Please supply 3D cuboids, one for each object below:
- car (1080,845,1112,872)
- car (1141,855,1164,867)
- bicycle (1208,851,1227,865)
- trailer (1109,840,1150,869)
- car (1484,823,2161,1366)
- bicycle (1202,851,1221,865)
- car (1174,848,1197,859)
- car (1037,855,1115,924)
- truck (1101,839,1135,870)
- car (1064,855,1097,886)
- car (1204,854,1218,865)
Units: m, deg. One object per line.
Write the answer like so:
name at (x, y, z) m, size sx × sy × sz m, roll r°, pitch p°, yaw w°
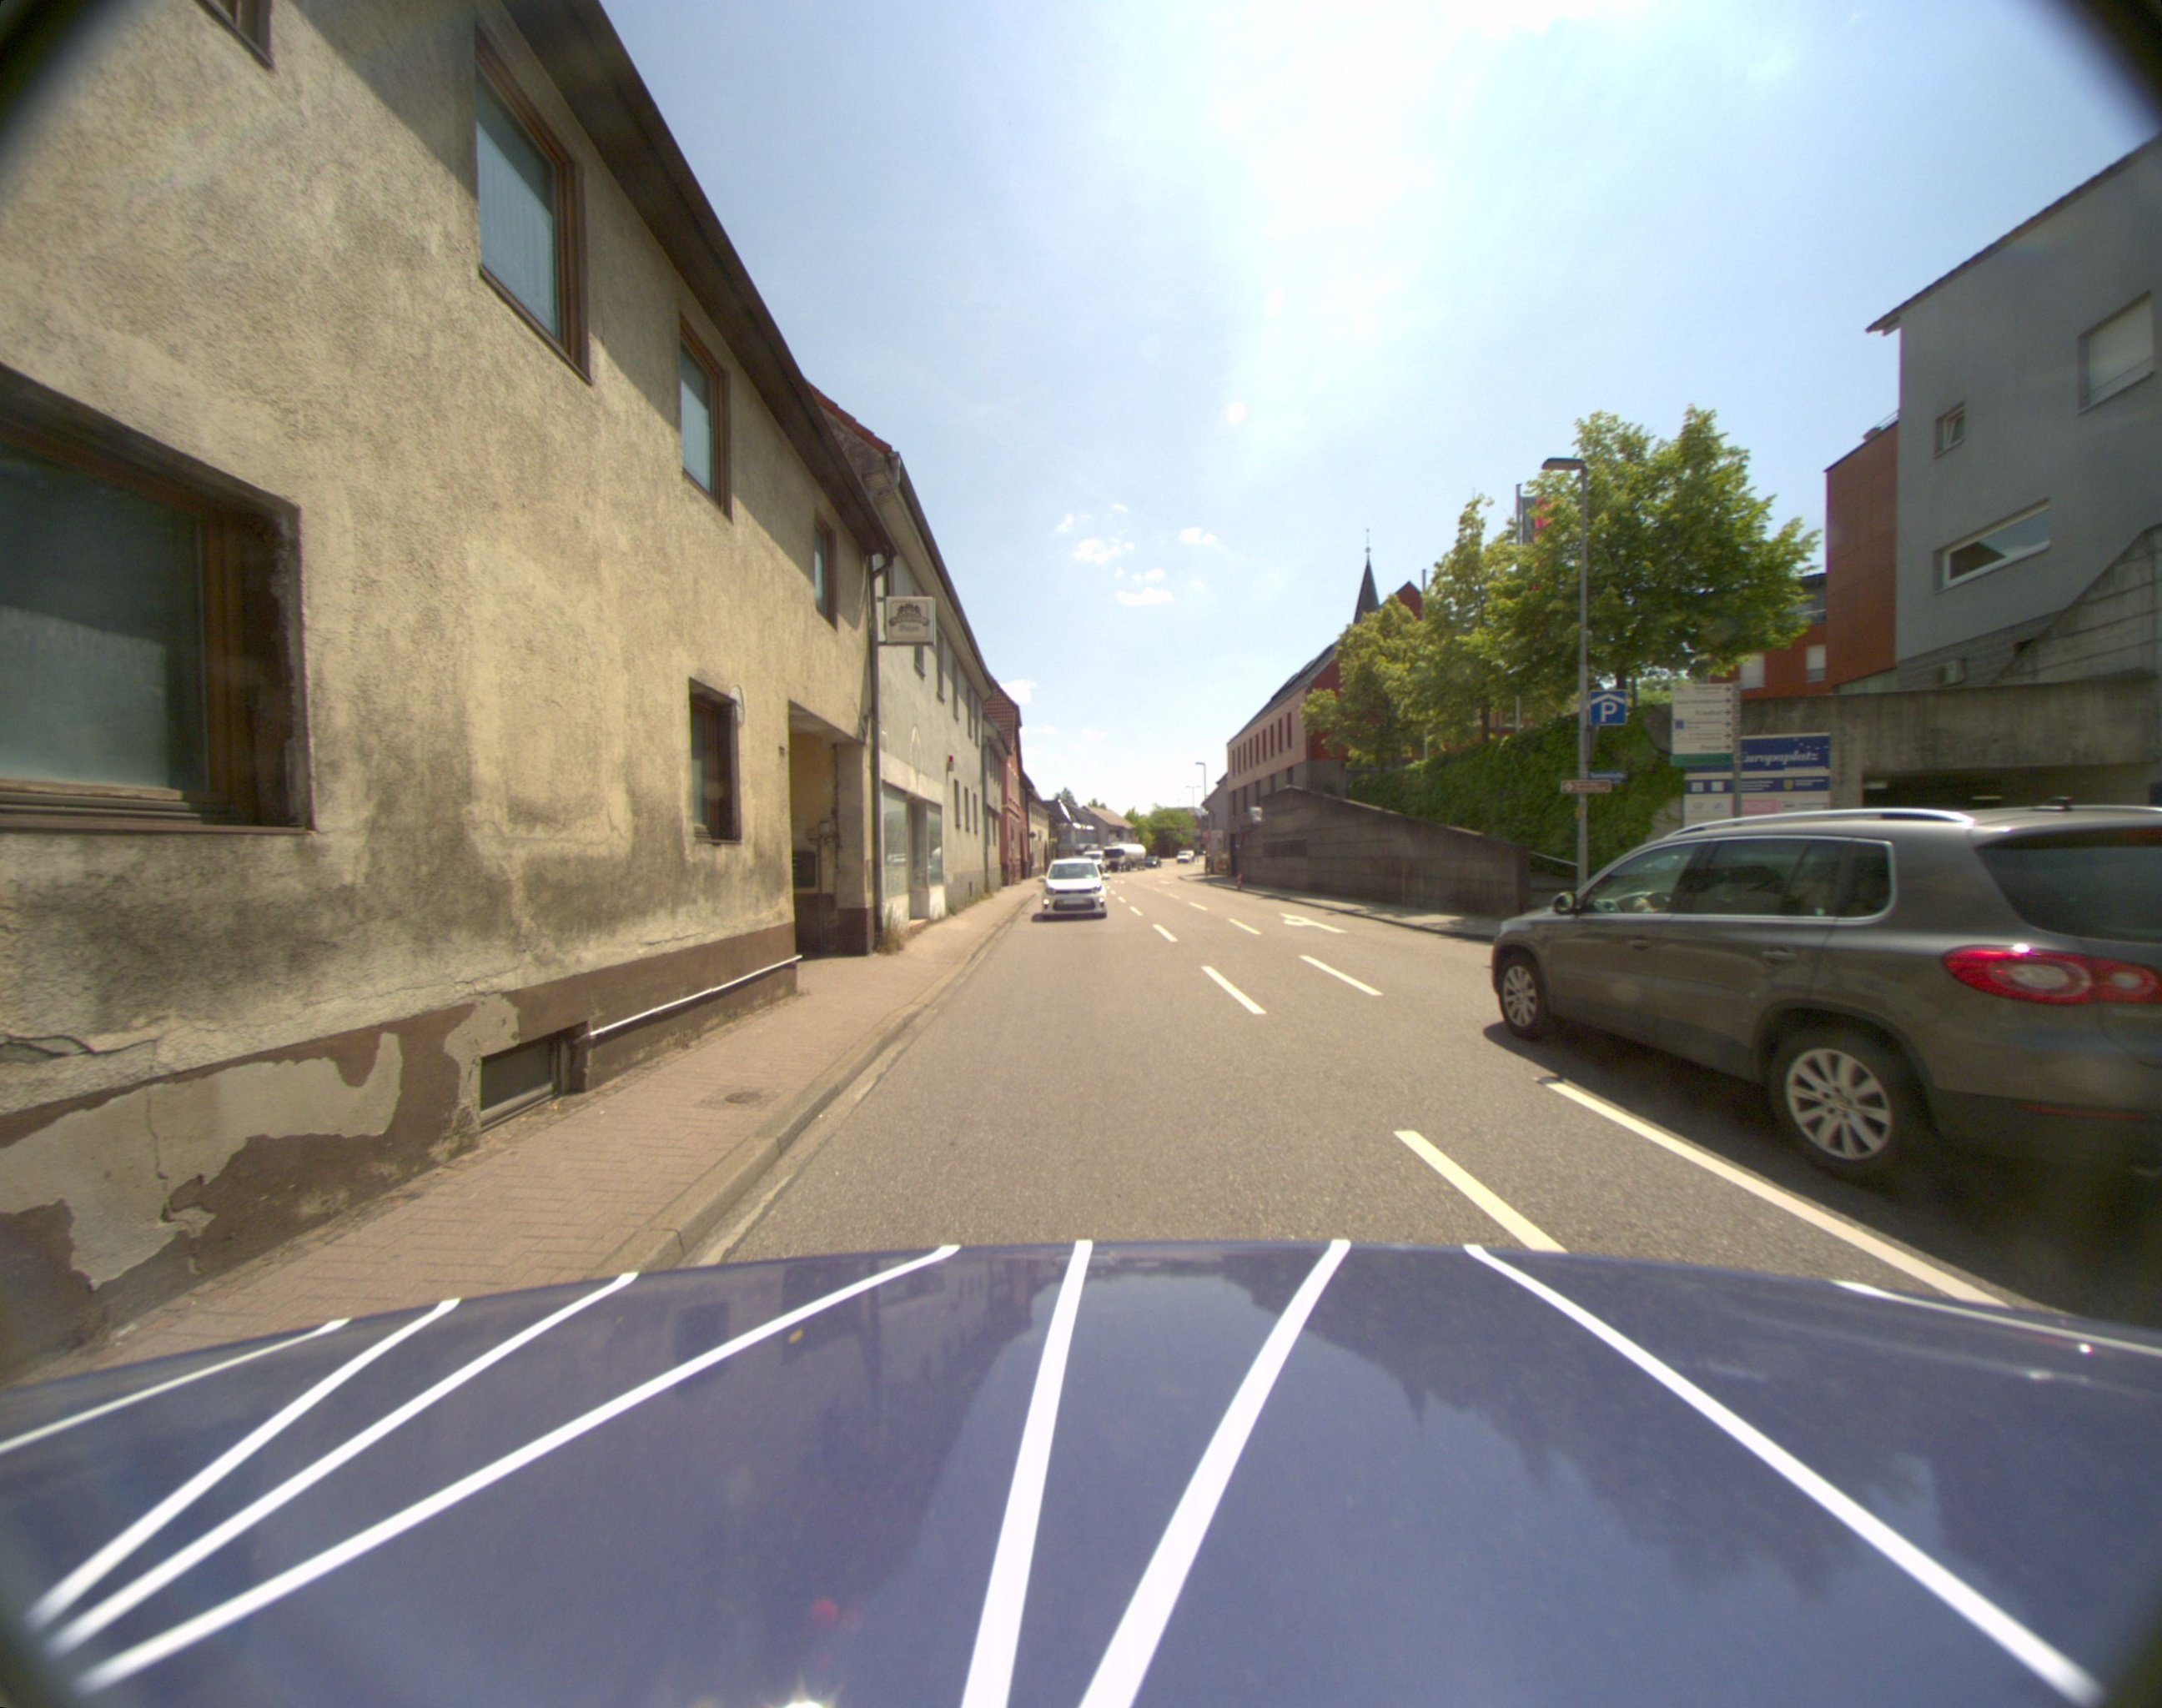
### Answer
car at (1.540, 0.447, 75.525) m, size 2.173 × 2.549 × 4.829 m, roll -1°, pitch 0°, yaw 13°
car at (10.344, 0.929, 109.091) m, size 2.008 × 1.621 × 4.585 m, roll -1°, pitch 0°, yaw 23°
bicycle at (12.920, 0.398, 72.077) m, size 1.834 × 1.241 × 0.577 m, roll -3°, pitch -1°, yaw -35°
trailer at (6.330, 0.031, 97.115) m, size 2.834 × 3.549 × 10.978 m, roll -1°, pitch 0°, yaw 16°
car at (4.160, 0.712, 4.261) m, size 1.762 × 1.626 × 4.049 m, roll 0°, pitch 0°, yaw 2°
bicycle at (12.489, 0.413, 72.566) m, size 1.834 × 1.241 × 0.577 m, roll -3°, pitch -1°, yaw -35°
car at (17.309, -0.099, 125.184) m, size 2.007 × 1.621 × 4.587 m, roll -1°, pitch 0°, yaw 33°
car at (-0.025, 0.853, 20.225) m, size 1.724 × 1.541 × 4.304 m, roll -2°, pitch 0°, yaw 4°
truck at (4.473, 0.091, 90.643) m, size 2.844 × 3.549 × 5.475 m, roll -1°, pitch 0°, yaw 16°
car at (-0.027, 0.896, 43.206) m, size 1.724 × 1.541 × 4.303 m, roll -2°, pitch 0°, yaw 0°
car at (18.677, 0.779, 109.224) m, size 1.672 × 1.648 × 4.021 m, roll -1°, pitch 0°, yaw 13°
